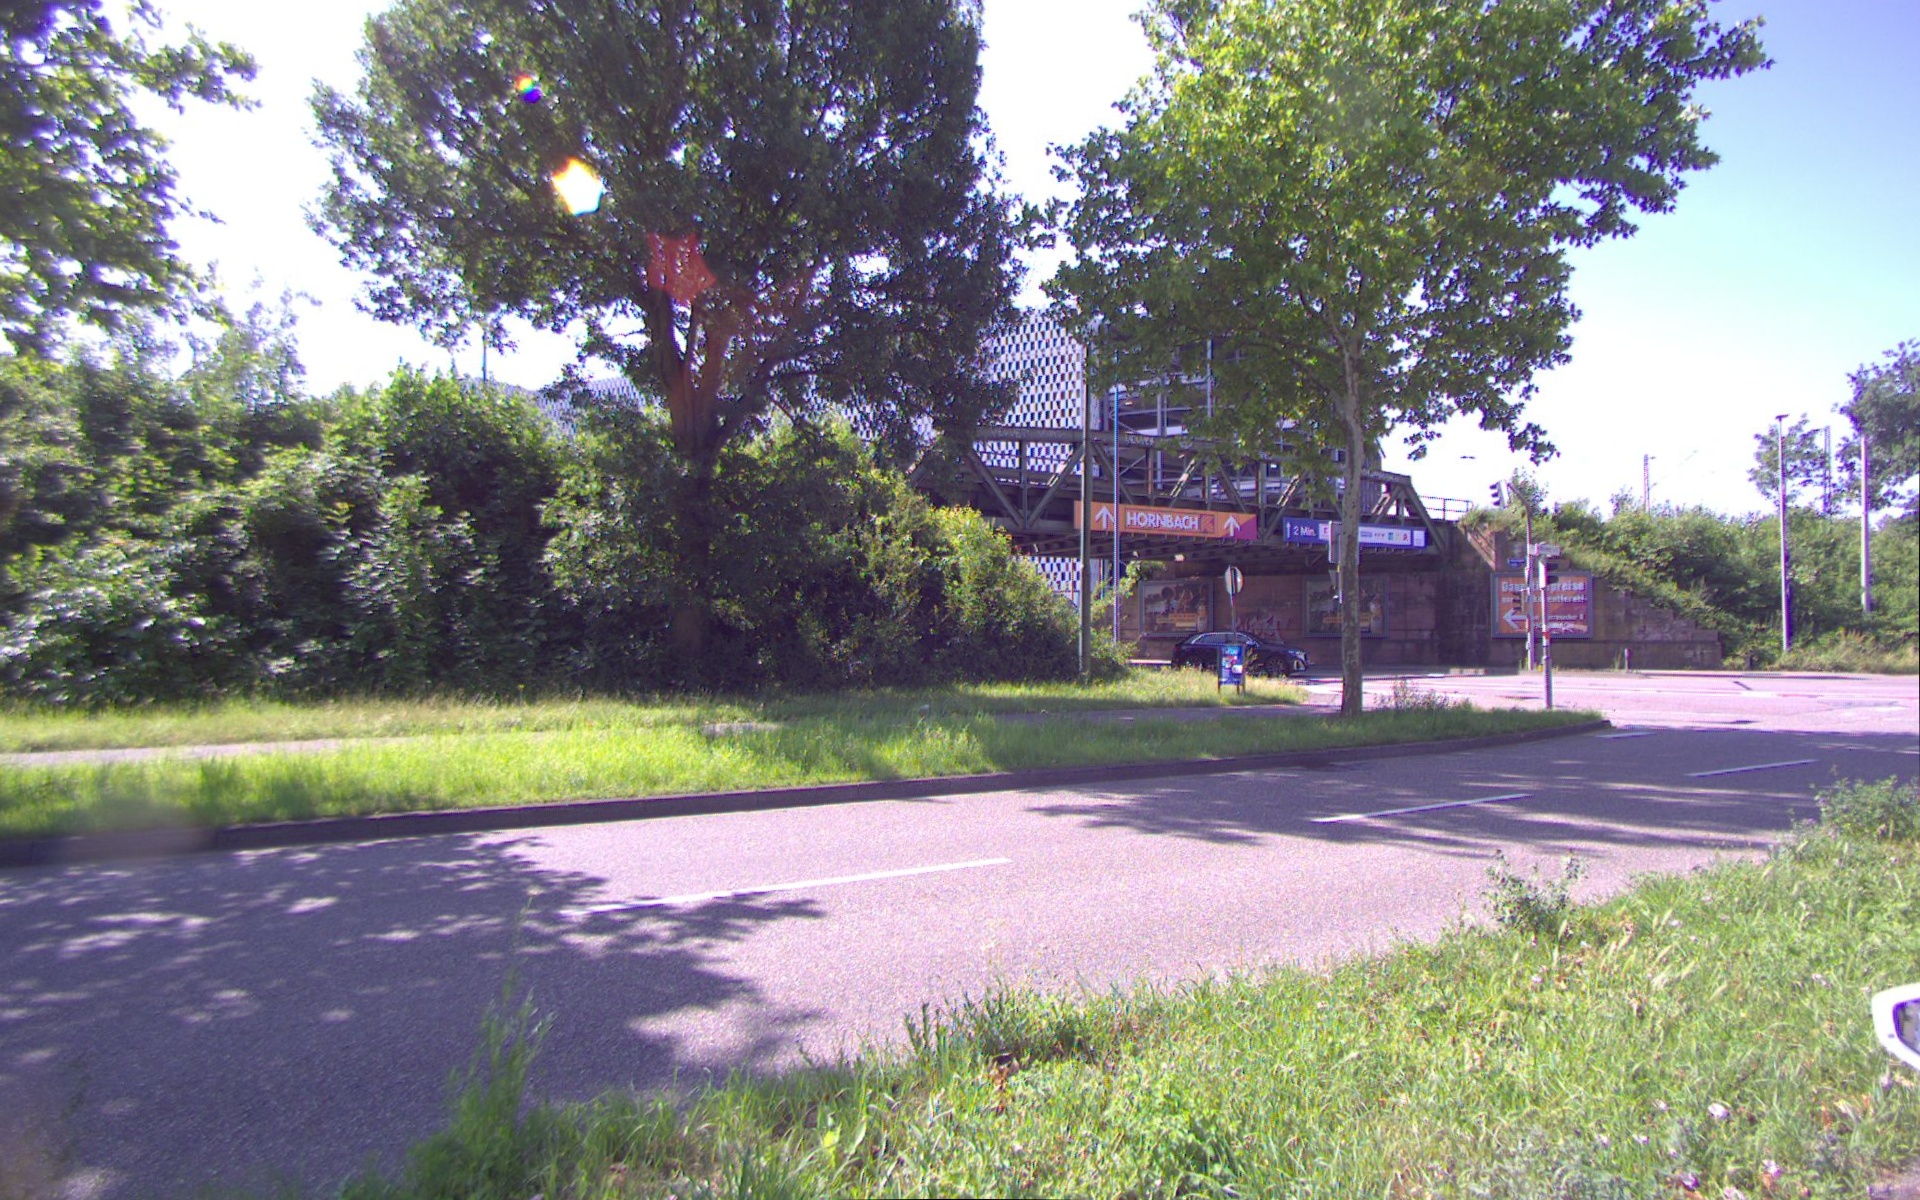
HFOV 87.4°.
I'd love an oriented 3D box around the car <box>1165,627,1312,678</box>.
[{"bbox_3d":[10.132,1.872,36.595,4.957,1.617,1.526,1,-1,24],"label":"car"}]
